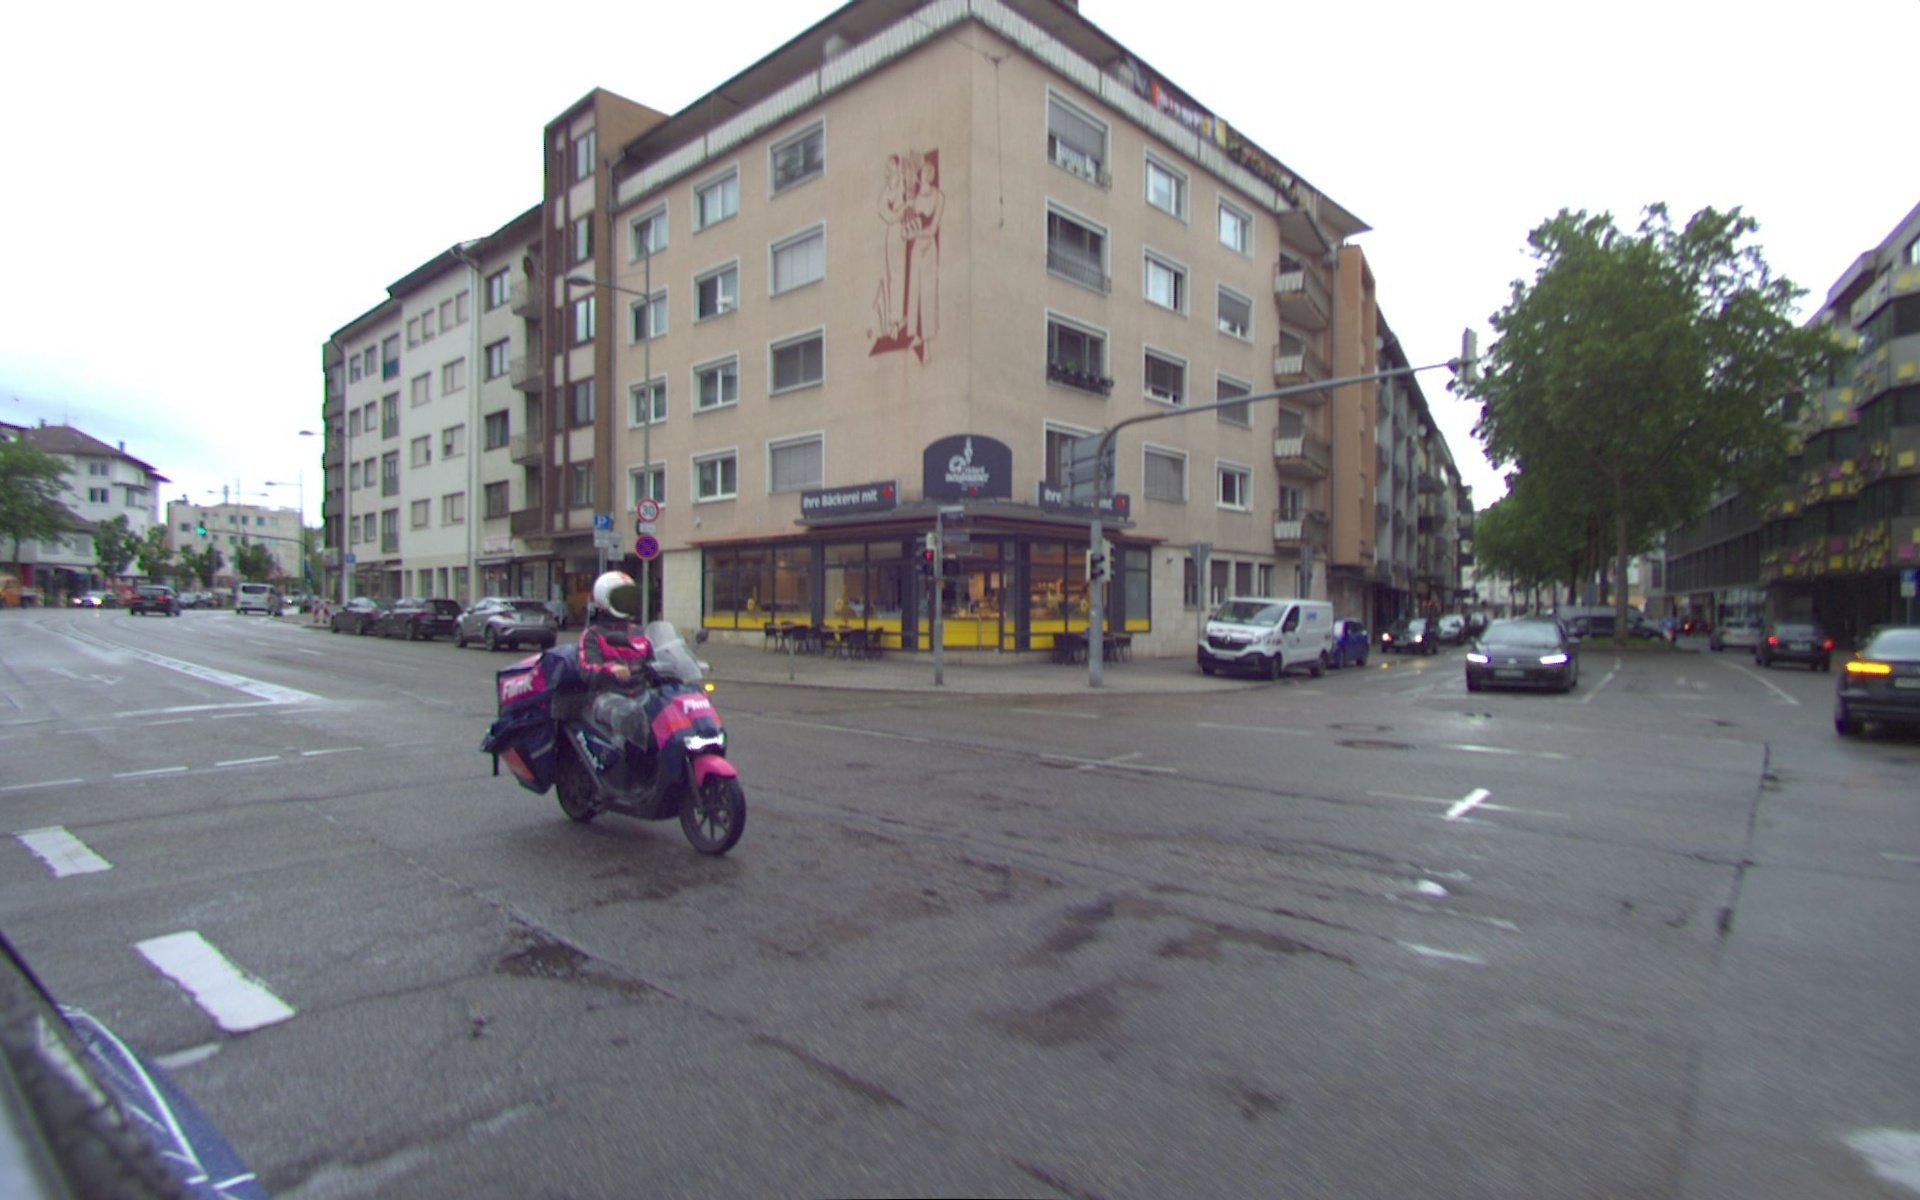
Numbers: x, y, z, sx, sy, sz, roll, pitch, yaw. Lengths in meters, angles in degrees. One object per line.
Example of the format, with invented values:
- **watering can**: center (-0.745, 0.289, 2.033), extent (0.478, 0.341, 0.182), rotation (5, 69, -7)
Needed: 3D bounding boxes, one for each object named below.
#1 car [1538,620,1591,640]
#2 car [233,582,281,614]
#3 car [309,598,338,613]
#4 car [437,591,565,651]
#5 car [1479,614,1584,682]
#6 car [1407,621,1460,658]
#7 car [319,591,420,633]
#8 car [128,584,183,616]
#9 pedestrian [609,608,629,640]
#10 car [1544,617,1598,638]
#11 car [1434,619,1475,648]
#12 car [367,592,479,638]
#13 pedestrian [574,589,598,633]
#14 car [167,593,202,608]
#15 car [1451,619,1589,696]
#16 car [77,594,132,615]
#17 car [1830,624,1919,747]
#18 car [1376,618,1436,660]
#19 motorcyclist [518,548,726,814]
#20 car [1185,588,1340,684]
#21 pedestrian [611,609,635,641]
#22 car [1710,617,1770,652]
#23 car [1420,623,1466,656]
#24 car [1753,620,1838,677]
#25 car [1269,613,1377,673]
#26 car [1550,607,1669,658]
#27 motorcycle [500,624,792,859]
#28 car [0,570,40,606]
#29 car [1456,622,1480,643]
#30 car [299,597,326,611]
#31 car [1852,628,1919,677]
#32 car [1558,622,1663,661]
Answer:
- **car**: center (54.545, 2.705, 91.362), extent (3.986, 1.674, 1.871), rotation (-2, 0, 31)
- **car**: center (-47.484, -0.194, 68.476), extent (2.089, 2.029, 5.145), rotation (-1, 2, -29)
- **car**: center (-65.564, 0.569, 104.283), extent (1.698, 1.410, 3.605), rotation (-1, -2, -17)
- **car**: center (-13.497, 0.587, 29.606), extent (1.886, 1.566, 4.634), rotation (3, -1, -45)
- **car**: center (14.962, 1.189, 26.380), extent (2.041, 1.602, 4.602), rotation (-2, -2, 34)
- **car**: center (21.858, 1.774, 46.654), extent (1.835, 1.502, 4.219), rotation (3, 1, 30)
- **car**: center (-22.920, 0.452, 39.217), extent (4.977, 1.488, 1.862), rotation (1, -2, 41)
- **car**: center (-44.777, -0.016, 56.425), extent (1.836, 1.659, 4.266), rotation (3, -1, -31)
- **pedestrian**: center (-12.239, 0.858, 36.339), extent (0.663, 1.156, 0.597), rotation (1, 0, -19)
- **car**: center (53.738, 2.415, 89.077), extent (3.986, 1.674, 1.871), rotation (-2, 0, 31)
- **car**: center (28.820, 1.922, 58.964), extent (1.835, 1.502, 4.219), rotation (3, 1, 30)
- **car**: center (-18.863, 0.516, 35.470), extent (4.516, 1.488, 1.973), rotation (1, -1, 41)
- **pedestrian**: center (-13.854, 0.406, 37.484), extent (0.667, 1.595, 0.539), rotation (1, 0, 30)
- **car**: center (-73.171, 0.044, 95.567), extent (1.783, 1.352, 4.013), rotation (-1, 1, -25)
- **car**: center (11.495, 1.097, 20.628), extent (2.041, 1.387, 4.289), rotation (-2, -2, 34)
- **car**: center (-63.954, 0.318, 75.701), extent (1.813, 1.453, 4.013), rotation (-1, 1, -20)
- **car**: center (12.908, 1.048, 12.970), extent (4.429, 1.398, 2.003), rotation (2, -1, -40)
- **car**: center (18.469, 1.565, 41.810), extent (1.835, 1.502, 4.219), rotation (3, 1, 30)
- **motorcyclist**: center (-2.110, 0.453, 6.358), extent (0.862, 1.504, 0.907), rotation (1, 1, 35)
- **car**: center (7.730, 0.854, 25.535), extent (2.044, 2.118, 4.804), rotation (3, 1, 38)
- **pedestrian**: center (-12.350, 0.911, 37.097), extent (0.632, 1.156, 0.601), rotation (1, 0, 44)
- **car**: center (35.535, 1.542, 46.170), extent (1.847, 1.482, 3.794), rotation (0, -1, 33)
- **car**: center (25.495, 2.042, 53.382), extent (1.835, 1.502, 4.219), rotation (3, 1, 30)
- **car**: center (26.232, 1.499, 31.872), extent (1.694, 1.639, 3.953), rotation (1, -1, 35)
- **car**: center (11.011, 1.234, 30.528), extent (2.041, 1.566, 4.290), rotation (3, 1, 34)
- **car**: center (31.622, 1.585, 49.413), extent (4.755, 2.323, 1.870), rotation (-2, 0, 33)
- **motorcycle**: center (-2.005, 0.781, 6.286), extent (2.097, 1.200, 0.582), rotation (1, 1, 35)
- **car**: center (-57.786, -0.723, 60.659), extent (2.162, 2.102, 5.953), rotation (0, 0, -24)
- **car**: center (43.244, 2.721, 86.085), extent (1.783, 1.586, 3.962), rotation (-1, 1, 28)
- **car**: center (-72.516, 0.453, 113.415), extent (1.955, 1.470, 4.500), rotation (3, -2, -25)
- **car**: center (30.812, 1.691, 33.134), extent (1.847, 1.482, 3.794), rotation (0, -1, 33)
- **car**: center (30.162, 1.920, 47.032), extent (3.988, 1.674, 1.870), rotation (-2, 0, 33)
